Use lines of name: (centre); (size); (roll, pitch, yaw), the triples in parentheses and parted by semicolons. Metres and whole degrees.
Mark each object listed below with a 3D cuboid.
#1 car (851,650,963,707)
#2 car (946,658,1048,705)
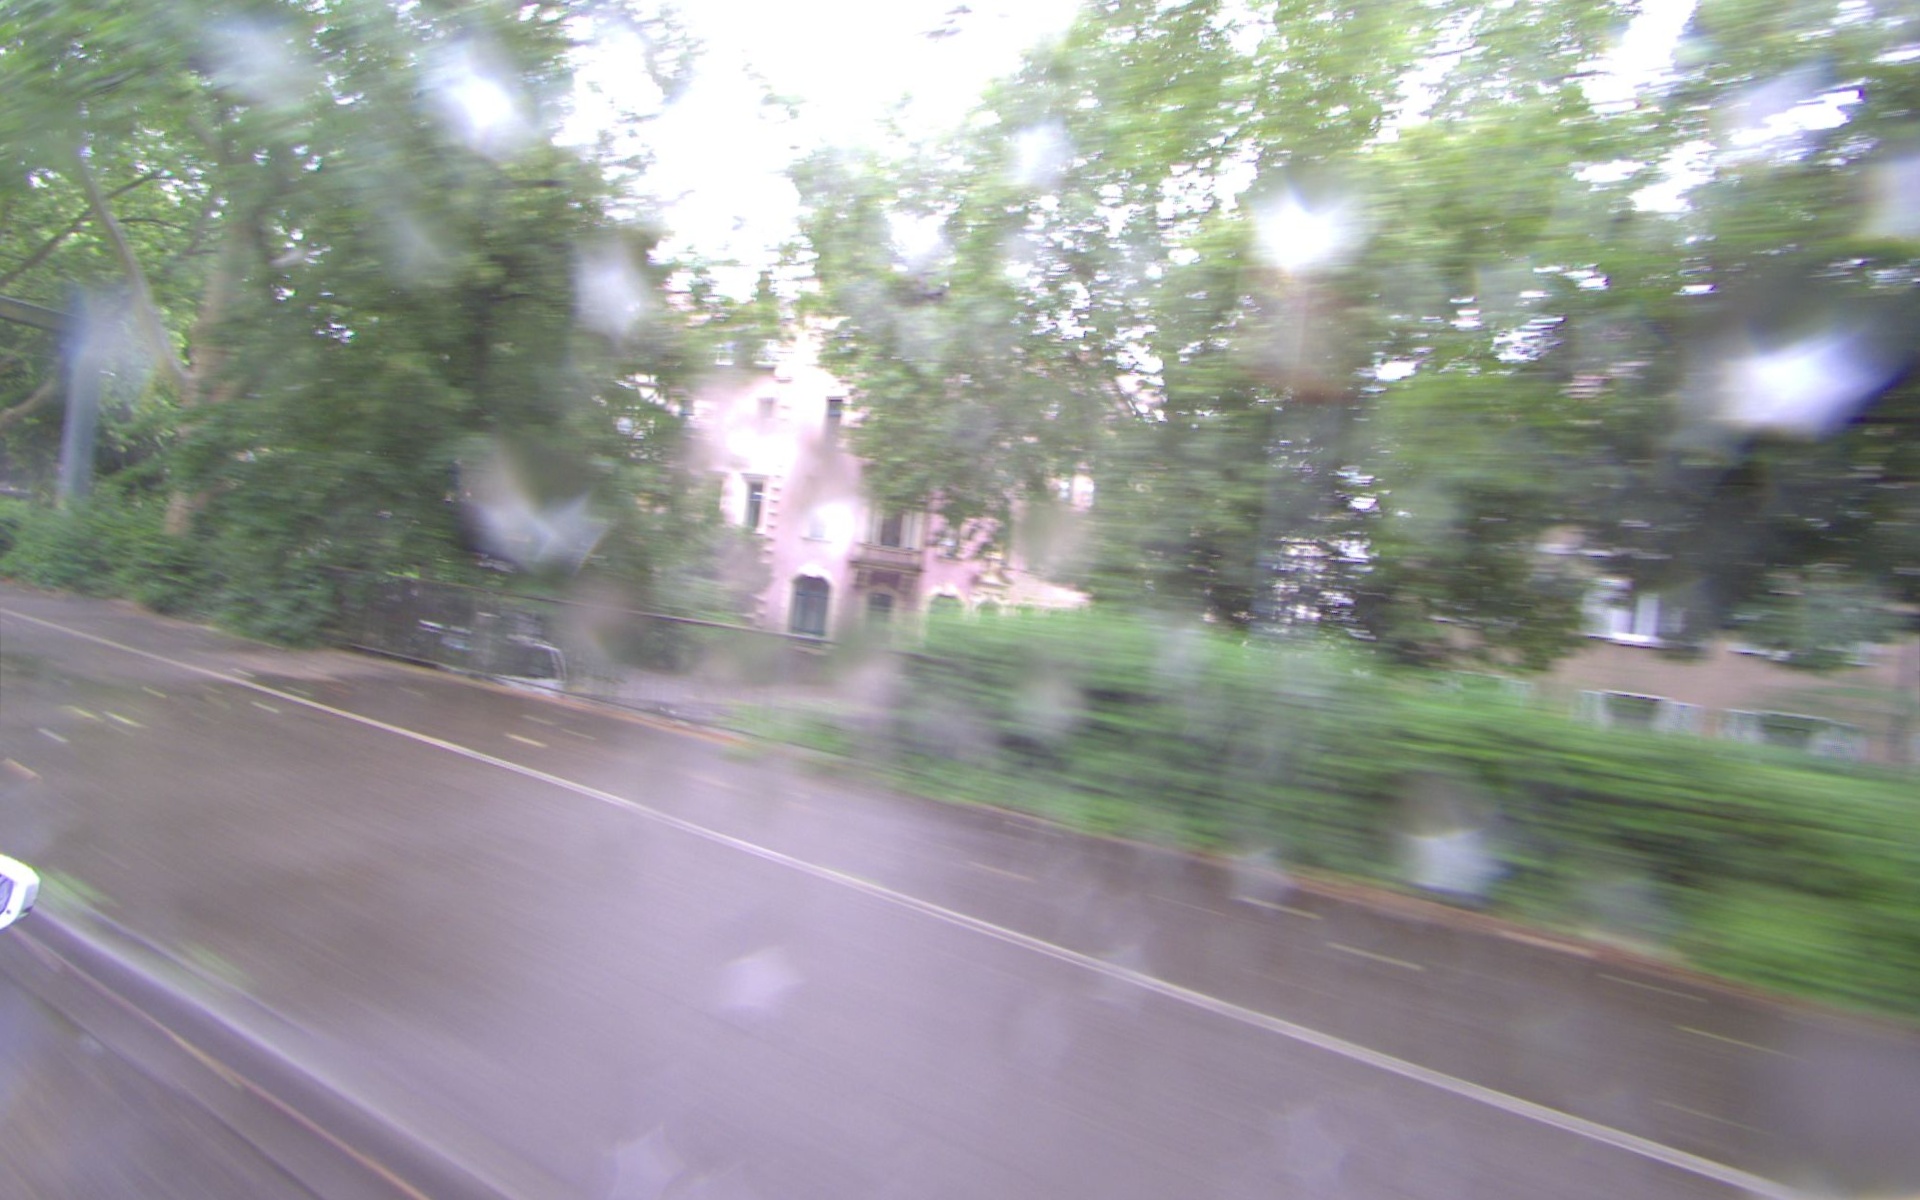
car: (-1.778, 2.750, 35.259); (1.894, 1.680, 3.992); (5, -1, 31)
car: (1.495, 3.176, 39.010); (1.898, 1.529, 3.893); (5, -1, 39)
